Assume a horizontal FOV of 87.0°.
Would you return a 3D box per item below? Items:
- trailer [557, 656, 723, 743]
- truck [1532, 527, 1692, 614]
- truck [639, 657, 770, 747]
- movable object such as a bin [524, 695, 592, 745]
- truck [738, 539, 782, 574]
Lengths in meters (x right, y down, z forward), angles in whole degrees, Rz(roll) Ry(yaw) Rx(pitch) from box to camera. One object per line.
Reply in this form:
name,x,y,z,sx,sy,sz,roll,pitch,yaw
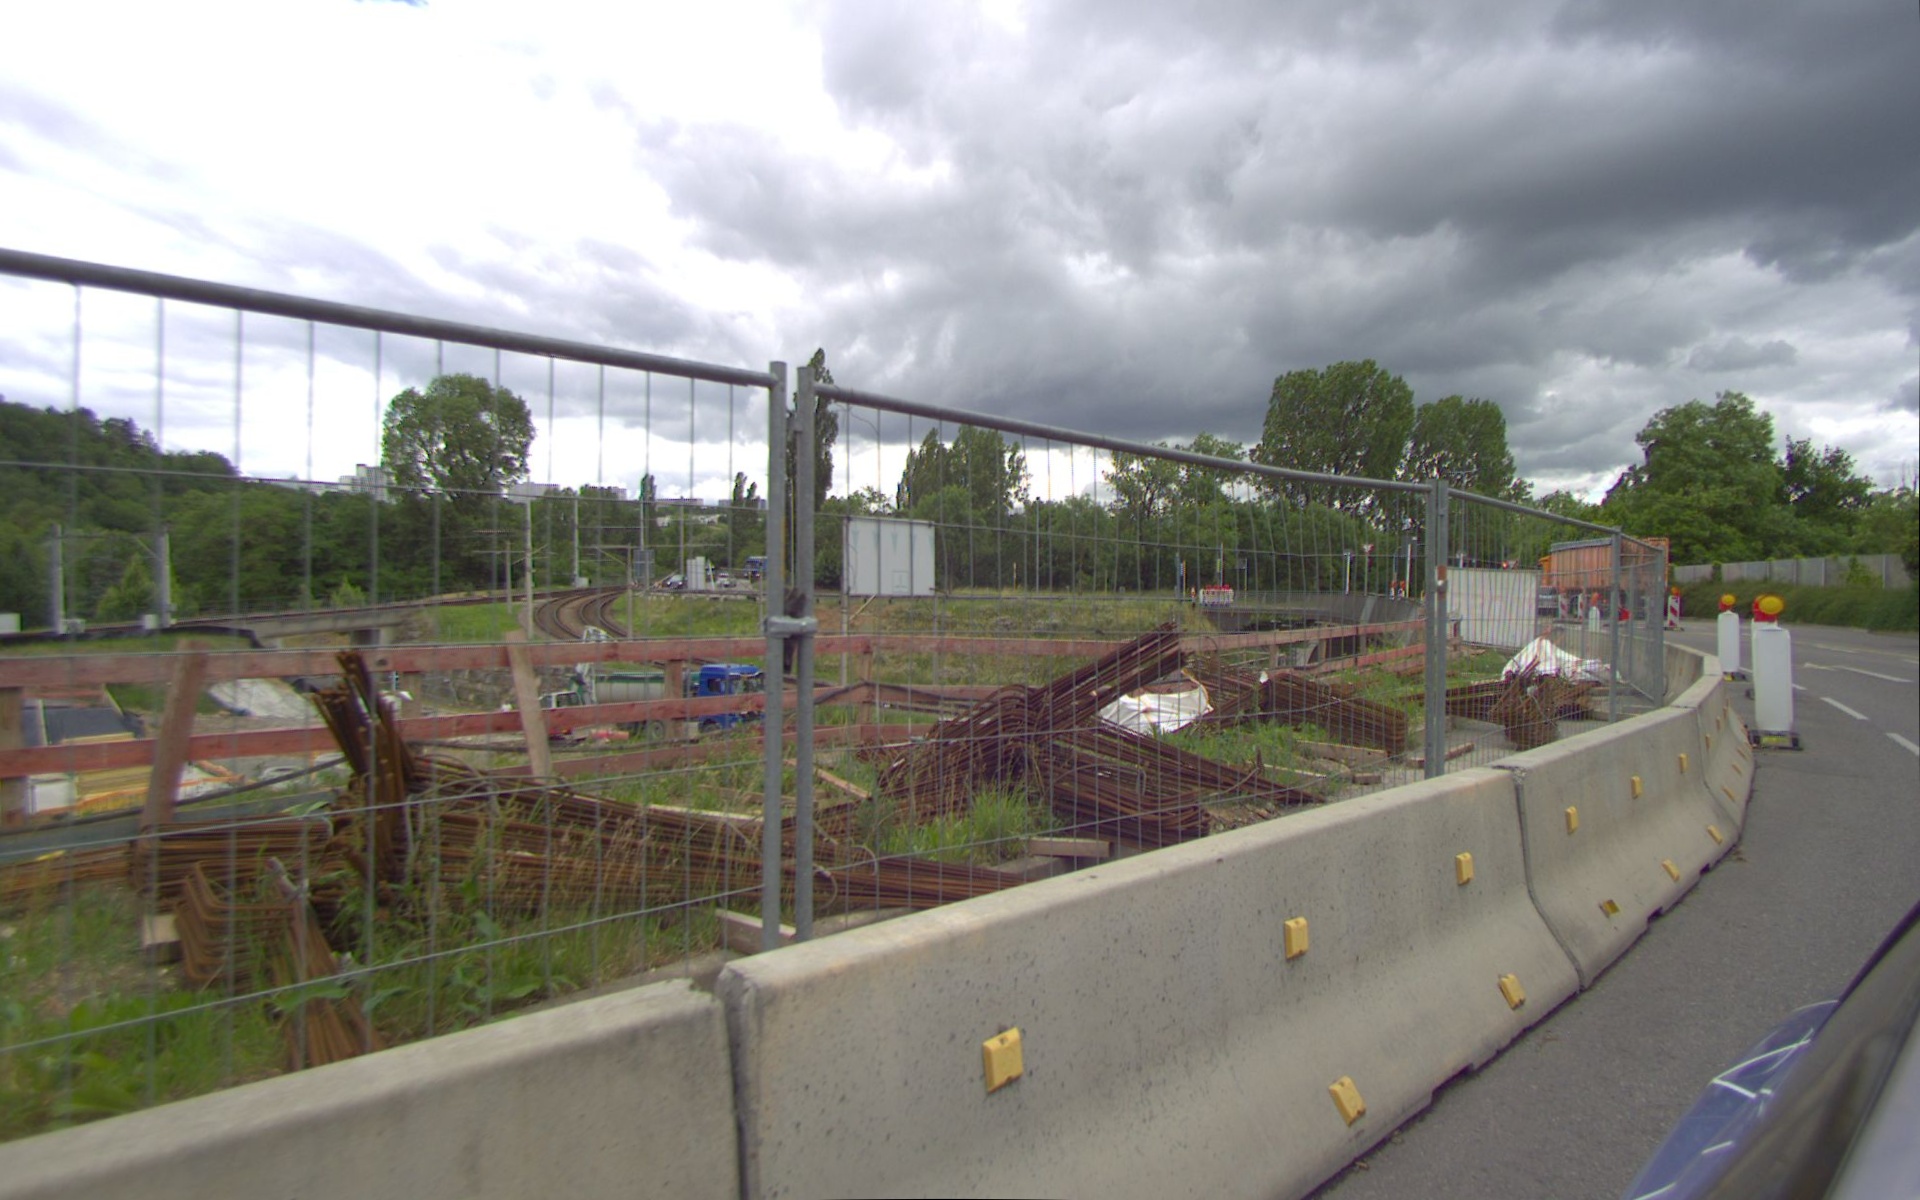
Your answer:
trailer,-16.042,4.817,50.397,9.062,3.810,2.394,-1,0,30
truck,32.626,-1.396,51.293,2.991,3.947,9.977,0,0,9
truck,-12.177,4.733,48.137,6.079,3.810,2.394,-1,0,30
movable object such as a bin,-18.350,5.447,46.203,2.400,1.851,1.998,-1,0,-39
truck,-30.068,-6.617,152.308,2.904,3.139,8.153,12,18,13
